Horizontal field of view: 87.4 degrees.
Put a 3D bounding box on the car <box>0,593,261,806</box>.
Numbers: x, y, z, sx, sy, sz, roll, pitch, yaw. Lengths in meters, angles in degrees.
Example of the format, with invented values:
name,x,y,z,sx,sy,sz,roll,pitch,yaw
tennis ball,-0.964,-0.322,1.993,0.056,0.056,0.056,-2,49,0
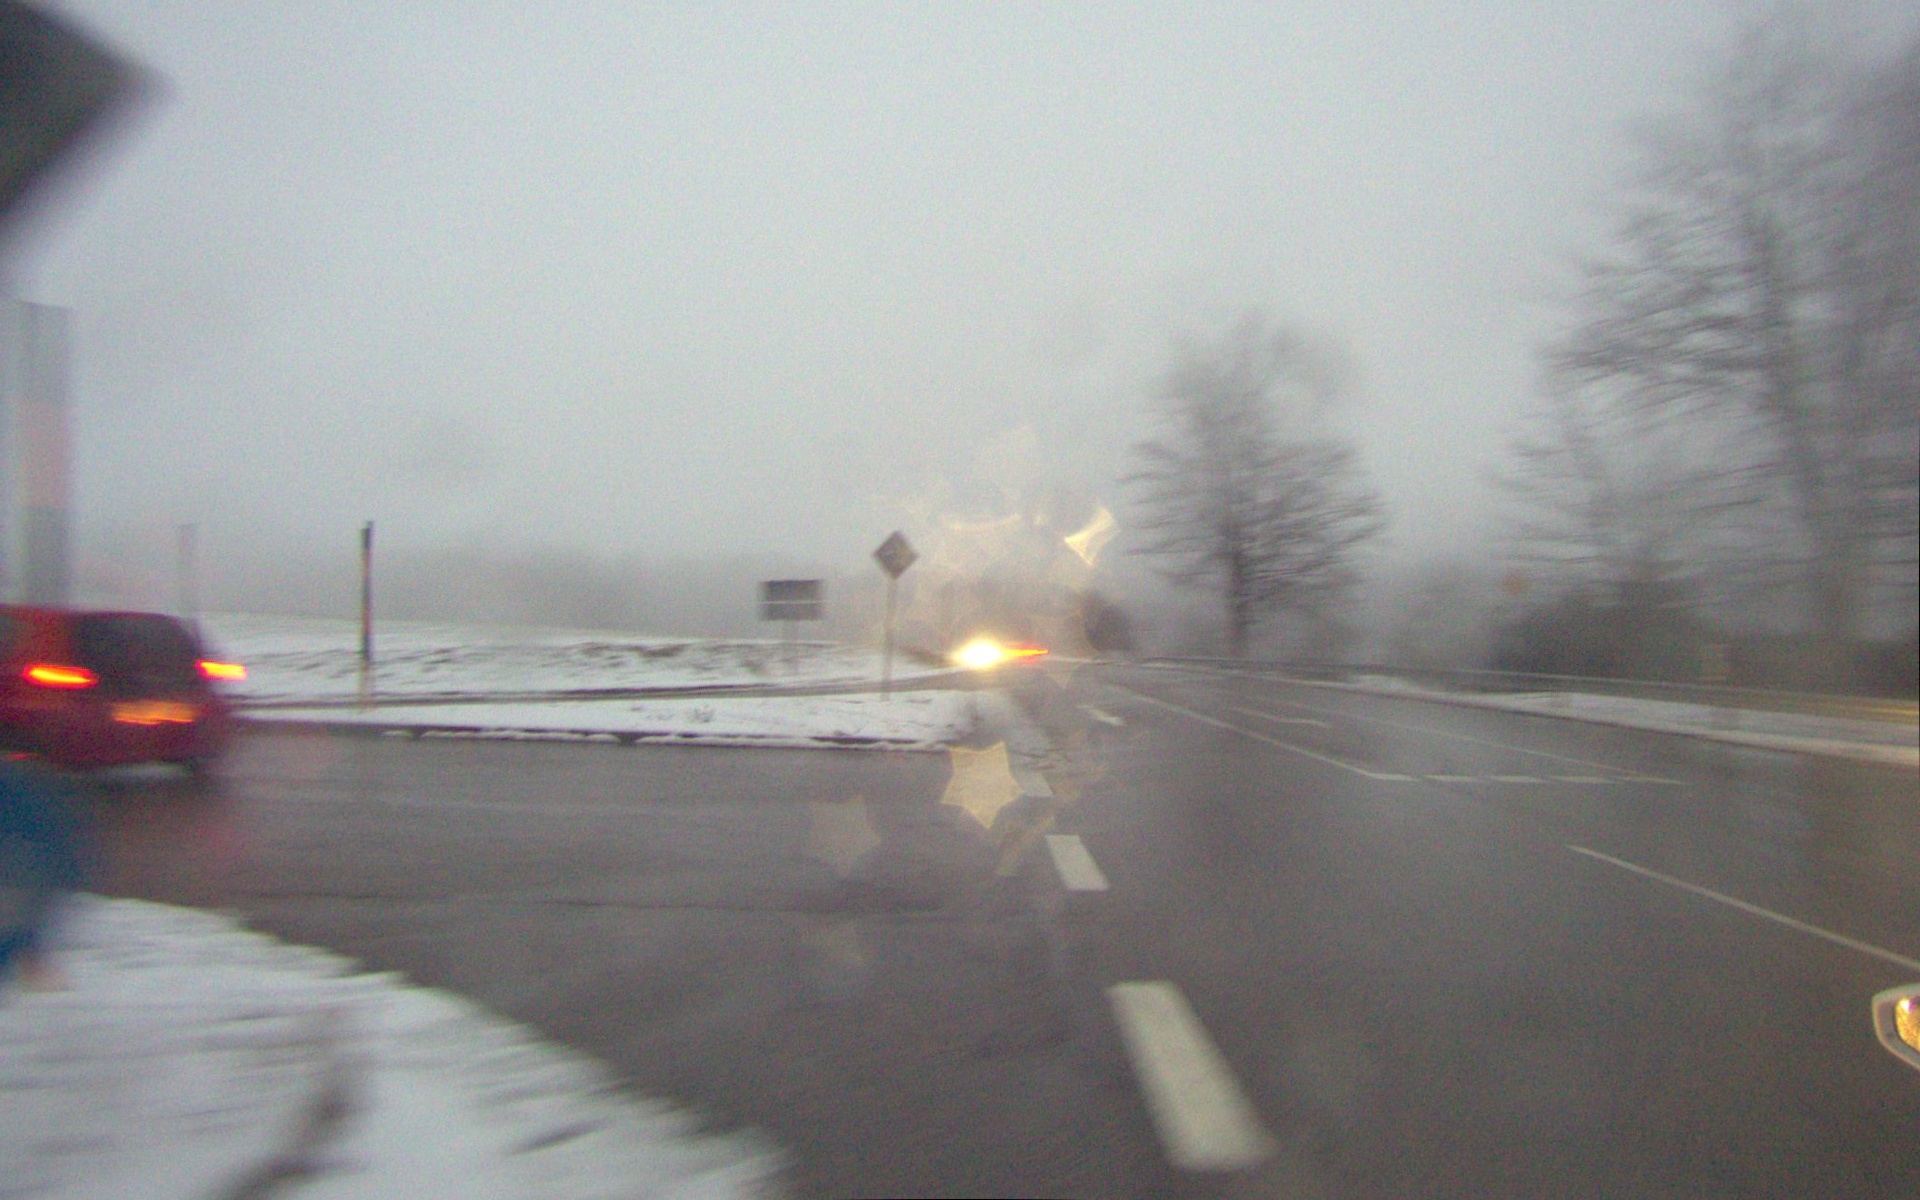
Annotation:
name,x,y,z,sx,sy,sz,roll,pitch,yaw
car,-7.757,0.677,8.126,3.344,1.472,1.578,1,-1,13

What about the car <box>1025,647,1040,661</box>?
name,x,y,z,sx,sy,sz,roll,pitch,yaw
car,8.951,6.680,124.652,1.664,1.572,3.857,2,-2,2
